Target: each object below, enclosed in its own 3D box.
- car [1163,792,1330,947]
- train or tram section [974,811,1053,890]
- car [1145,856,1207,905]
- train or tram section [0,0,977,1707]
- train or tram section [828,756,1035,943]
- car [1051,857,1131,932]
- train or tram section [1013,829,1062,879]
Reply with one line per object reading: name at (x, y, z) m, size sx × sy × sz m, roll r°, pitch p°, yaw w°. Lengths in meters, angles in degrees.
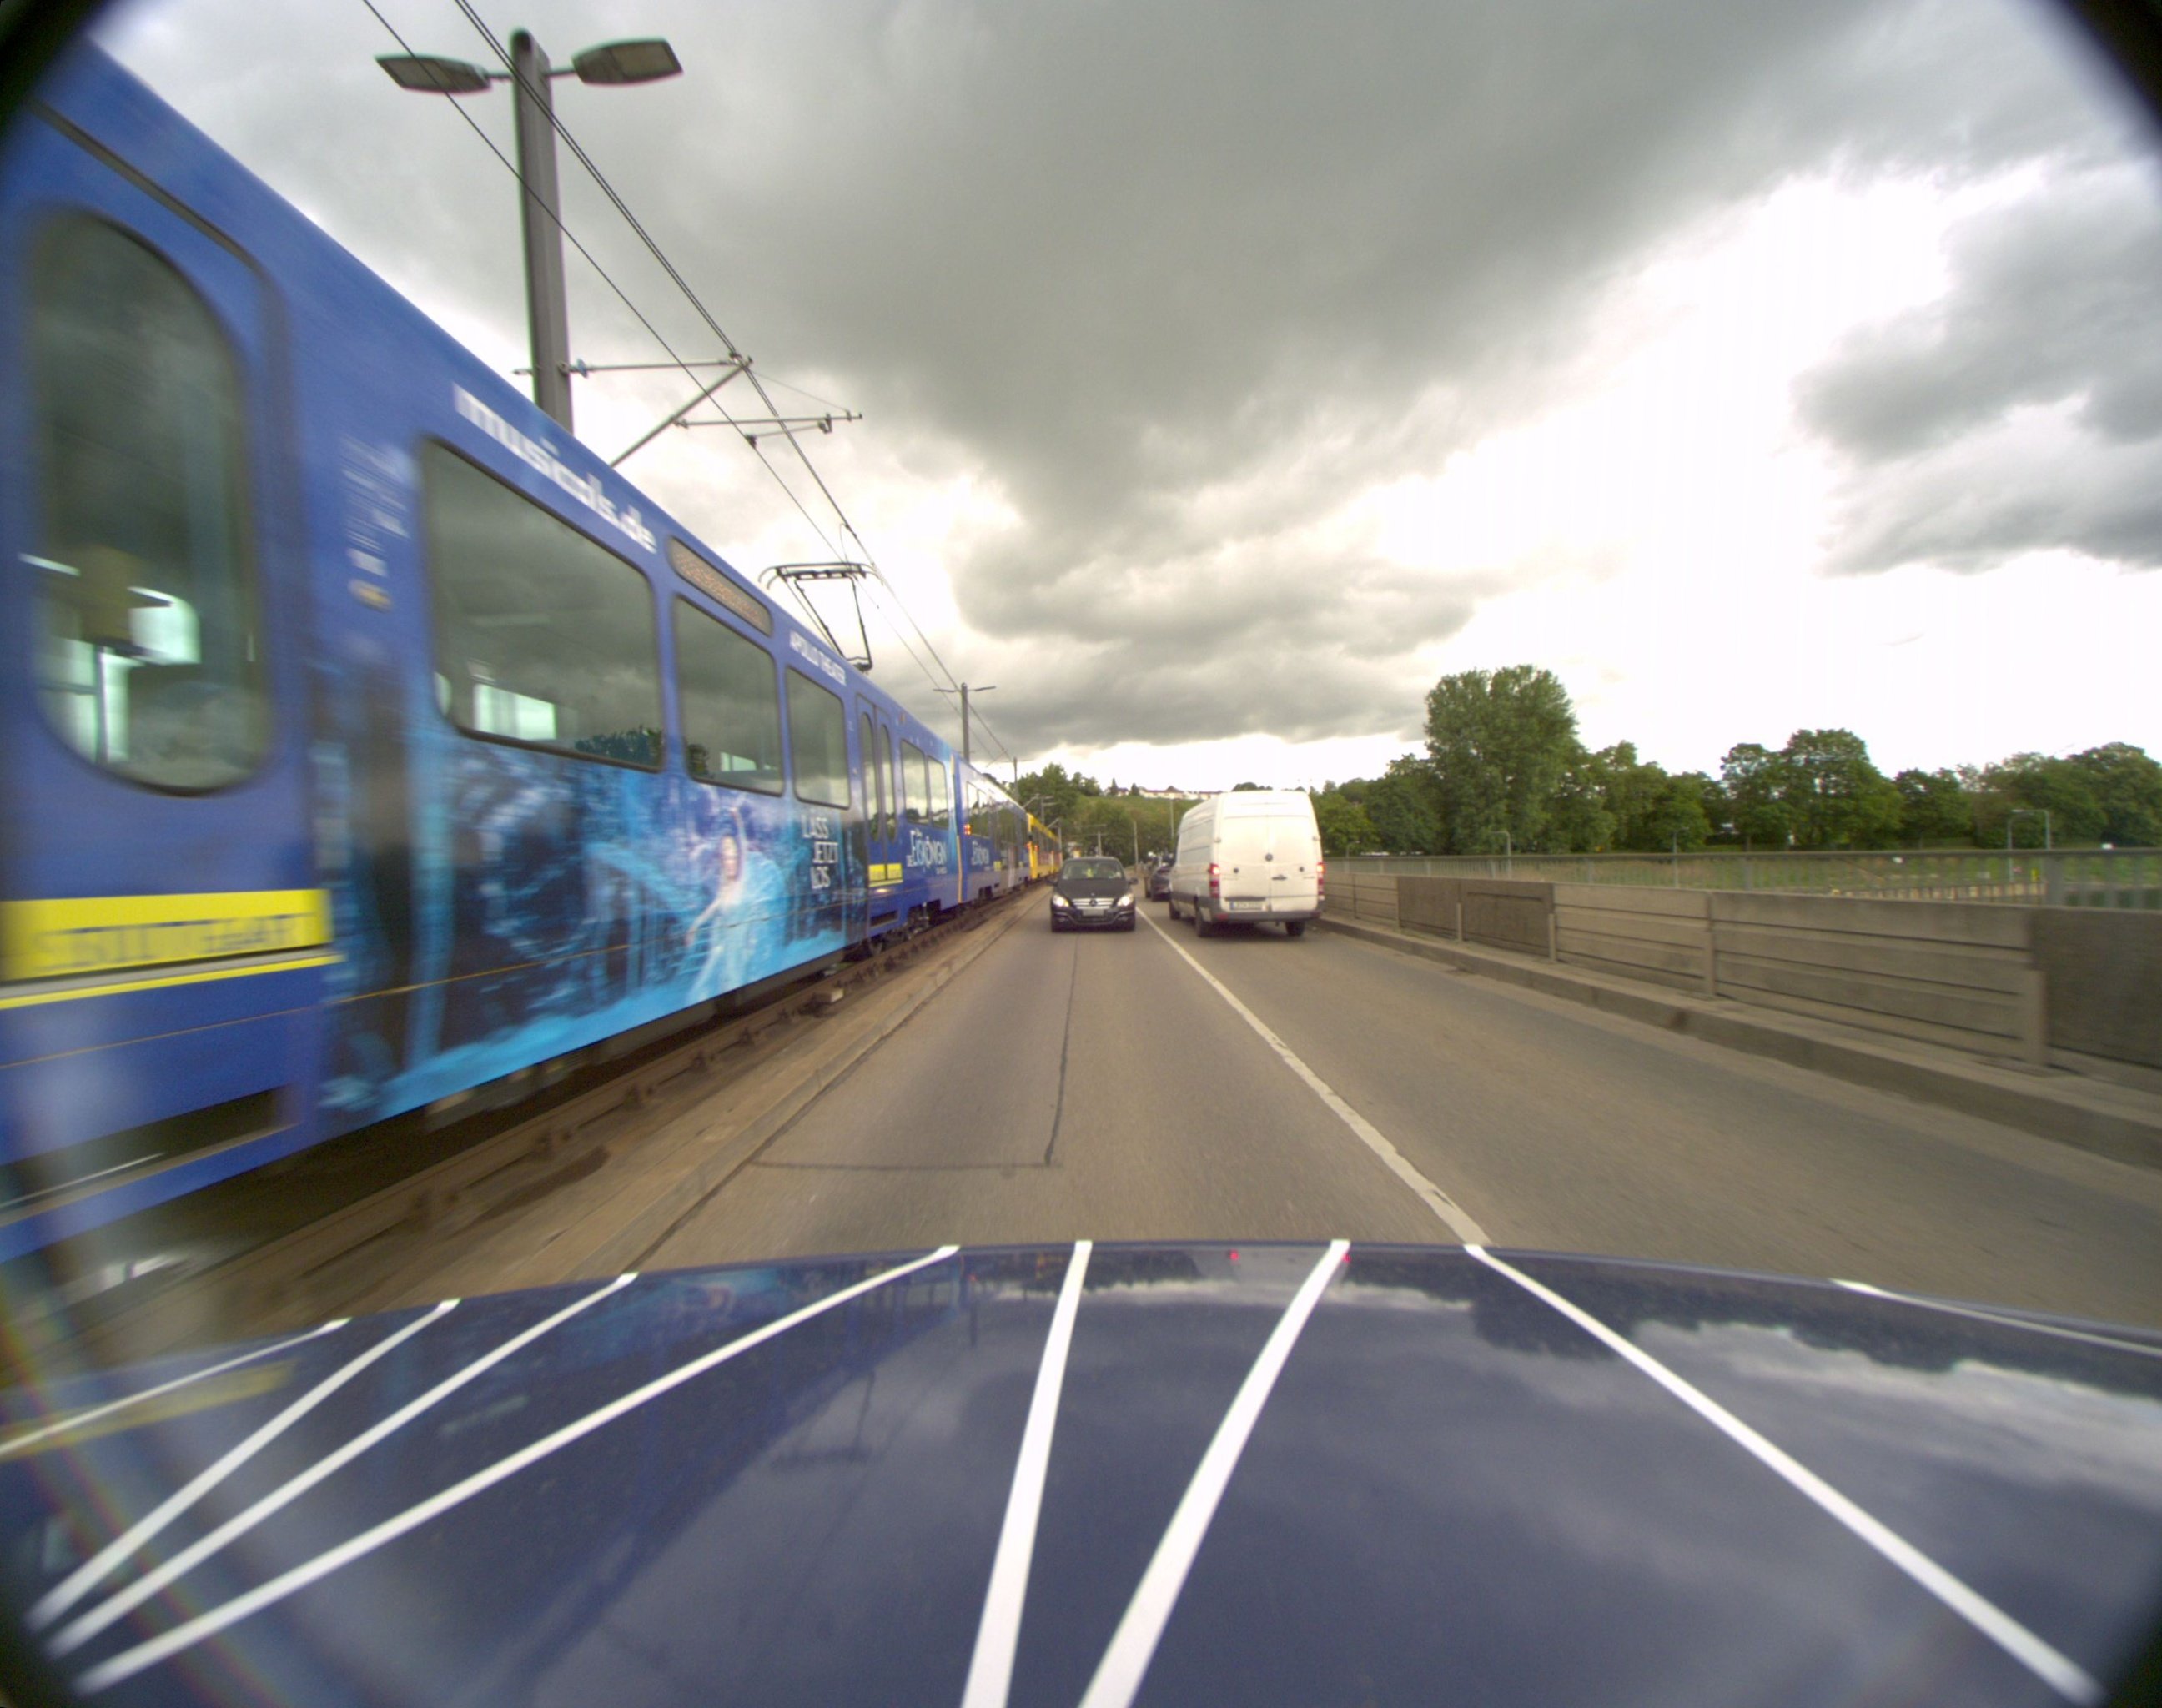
car at (3.129, 0.297, 16.155) m, size 2.038 × 2.546 × 7.008 m, roll -1°, pitch 0°, yaw 0°
train or tram section at (-3.417, -0.124, 43.986) m, size 2.837 × 3.559 × 18.666 m, roll 0°, pitch 0°, yaw 0°
car at (3.364, 0.911, 27.519) m, size 1.720 × 1.636 × 4.000 m, roll 0°, pitch 0°, yaw 0°
train or tram section at (-3.558, -0.055, 4.938) m, size 2.800 × 3.742 × 19.890 m, roll -3°, pitch 0°, yaw 0°
train or tram section at (-3.514, -0.144, 24.784) m, size 2.791 × 3.634 × 19.890 m, roll 0°, pitch 0°, yaw 0°
car at (0.222, 0.872, 18.490) m, size 1.711 × 1.573 × 4.442 m, roll -1°, pitch 0°, yaw 0°
train or tram section at (-3.325, 0.053, 62.647) m, size 2.889 × 3.488 × 18.666 m, roll 0°, pitch 0°, yaw 0°
